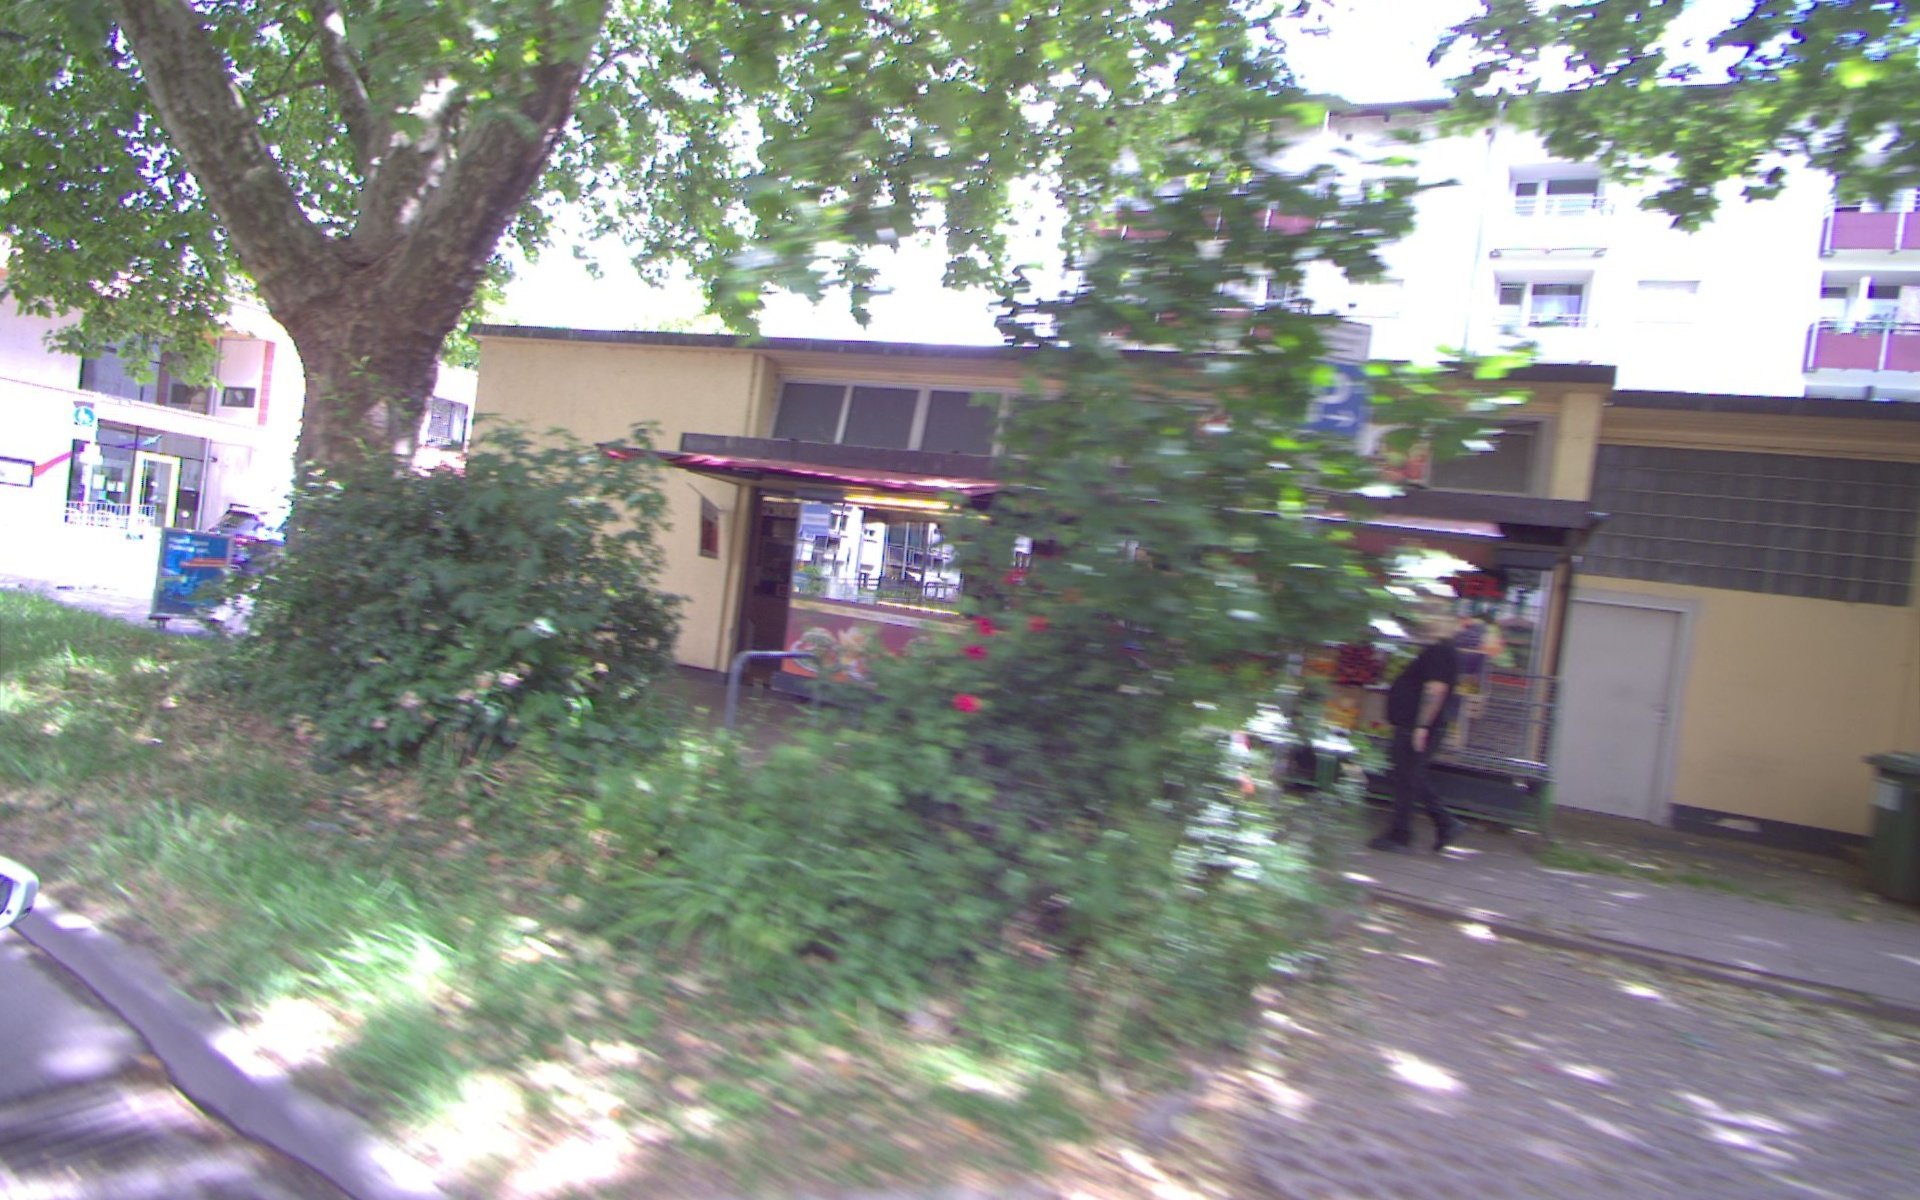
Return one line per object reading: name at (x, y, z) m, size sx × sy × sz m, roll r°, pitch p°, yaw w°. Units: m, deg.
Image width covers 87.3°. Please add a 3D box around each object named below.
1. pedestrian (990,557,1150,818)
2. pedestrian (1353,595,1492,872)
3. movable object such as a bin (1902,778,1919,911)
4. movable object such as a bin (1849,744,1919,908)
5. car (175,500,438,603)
pedestrian at (0.789, 0.601, 7.179) m, size 0.759 × 1.697 × 0.624 m, roll 7°, pitch 1°, yaw 32°
pedestrian at (3.231, 0.886, 7.021) m, size 0.647 × 1.747 × 0.760 m, roll 7°, pitch 2°, yaw 27°
movable object such as a bin at (6.888, 1.703, 6.777) m, size 0.577 × 0.926 × 0.438 m, roll 7°, pitch 2°, yaw 22°
movable object such as a bin at (7.068, 1.663, 7.286) m, size 0.696 × 1.082 × 0.520 m, roll 7°, pitch 2°, yaw 21°
car at (-13.621, -0.944, 21.256) m, size 1.976 × 1.704 × 4.186 m, roll 8°, pitch 2°, yaw 23°
